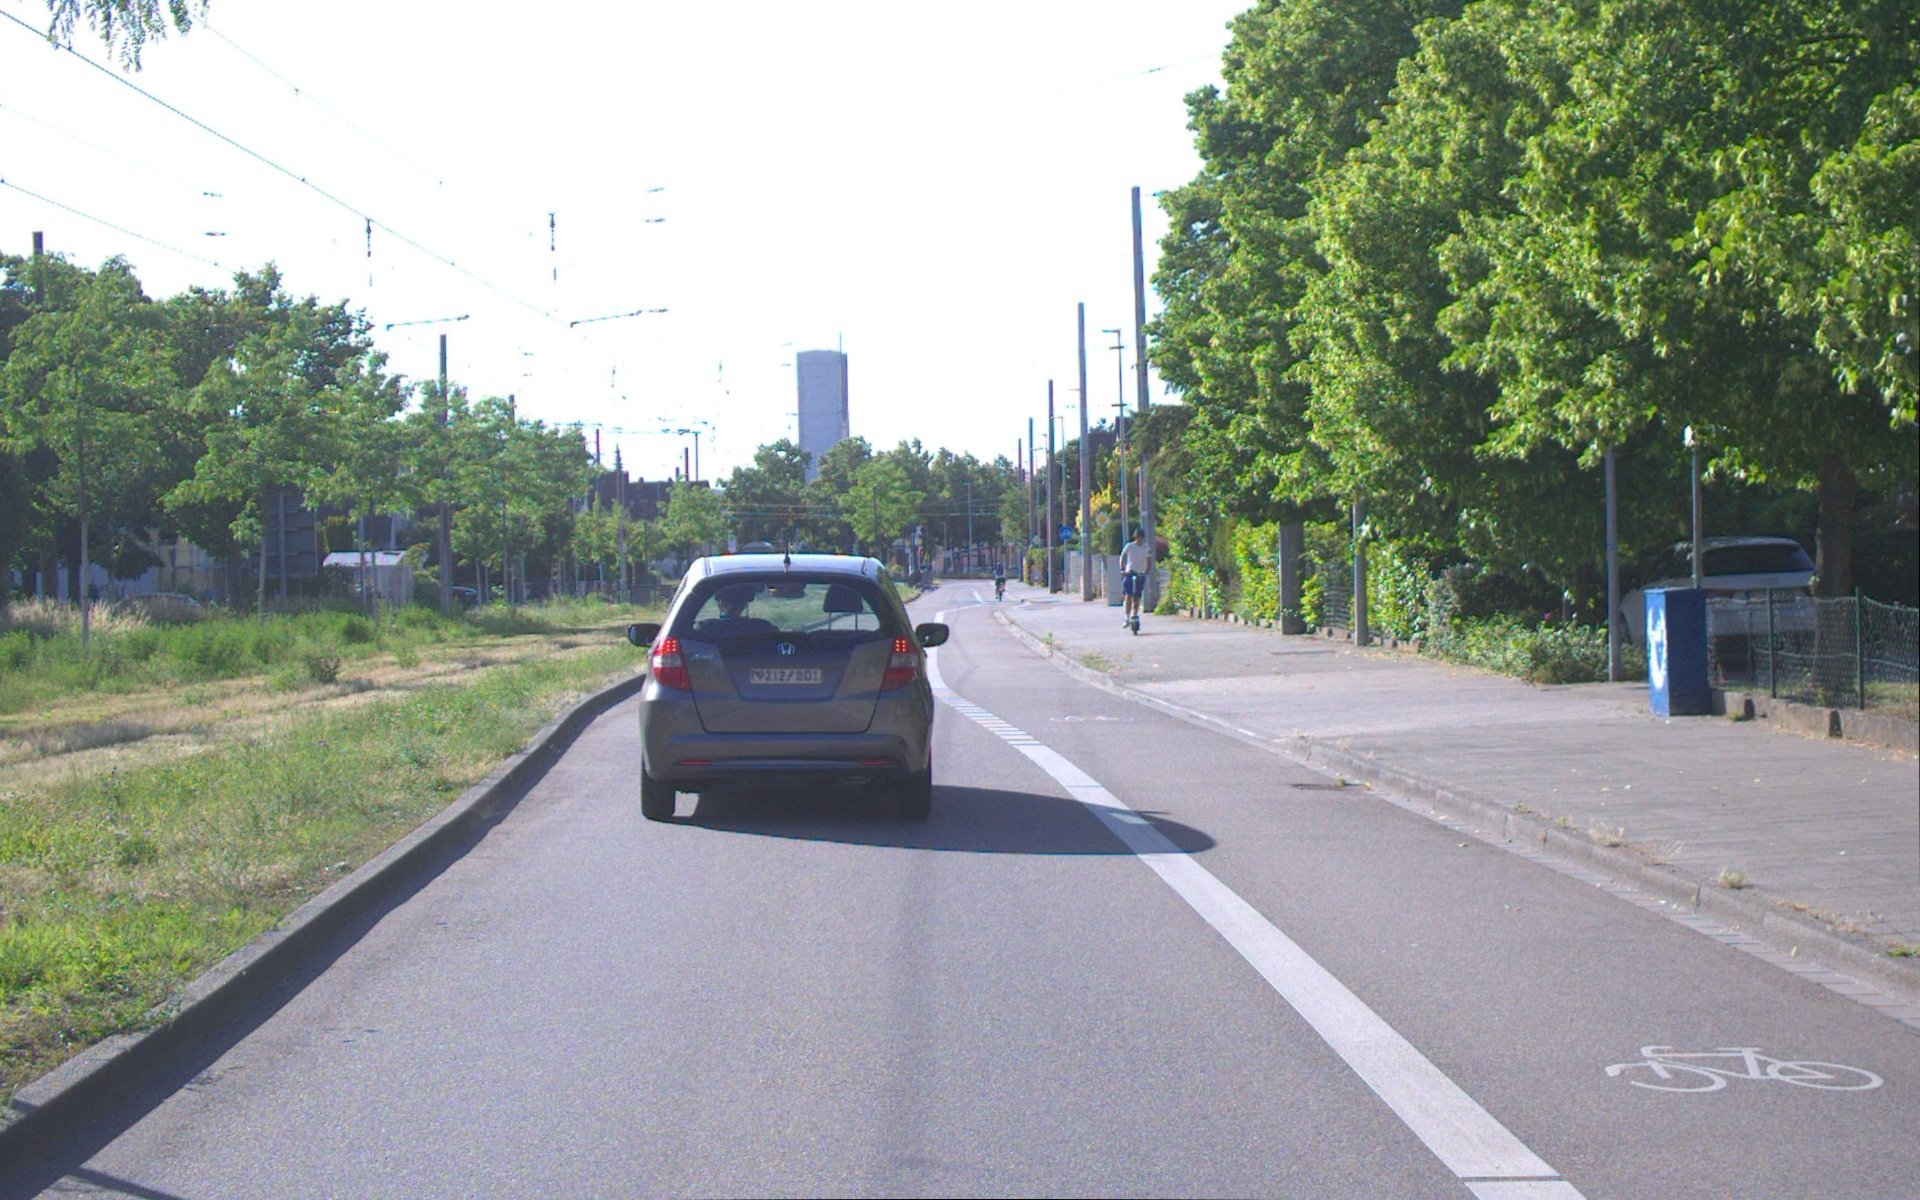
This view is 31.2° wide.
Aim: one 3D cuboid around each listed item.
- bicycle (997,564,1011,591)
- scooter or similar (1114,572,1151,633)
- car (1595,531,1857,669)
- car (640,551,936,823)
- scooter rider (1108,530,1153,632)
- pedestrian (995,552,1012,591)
[{"bbox_3d":[2.102,-1.070,162.828,0.512,1.237,3.090,-1,0,-2],"label":"bicycle"},{"bbox_3d":[3.220,0.048,64.199,0.539,1.114,1.417,-1,0,-2],"label":"scooter or similar"},{"bbox_3d":[8.388,-0.004,37.982,1.774,1.382,3.870,-2,0,-4],"label":"car"},{"bbox_3d":[-1.014,0.473,20.651,1.624,1.494,3.457,0,0,-2],"label":"car"},{"bbox_3d":[3.190,-0.353,64.376,0.716,1.894,0.935,-1,0,-2],"label":"scooter rider"},{"bbox_3d":[2.069,-1.349,162.882,0.722,1.794,1.164,-1,0,-1],"label":"pedestrian"}]
